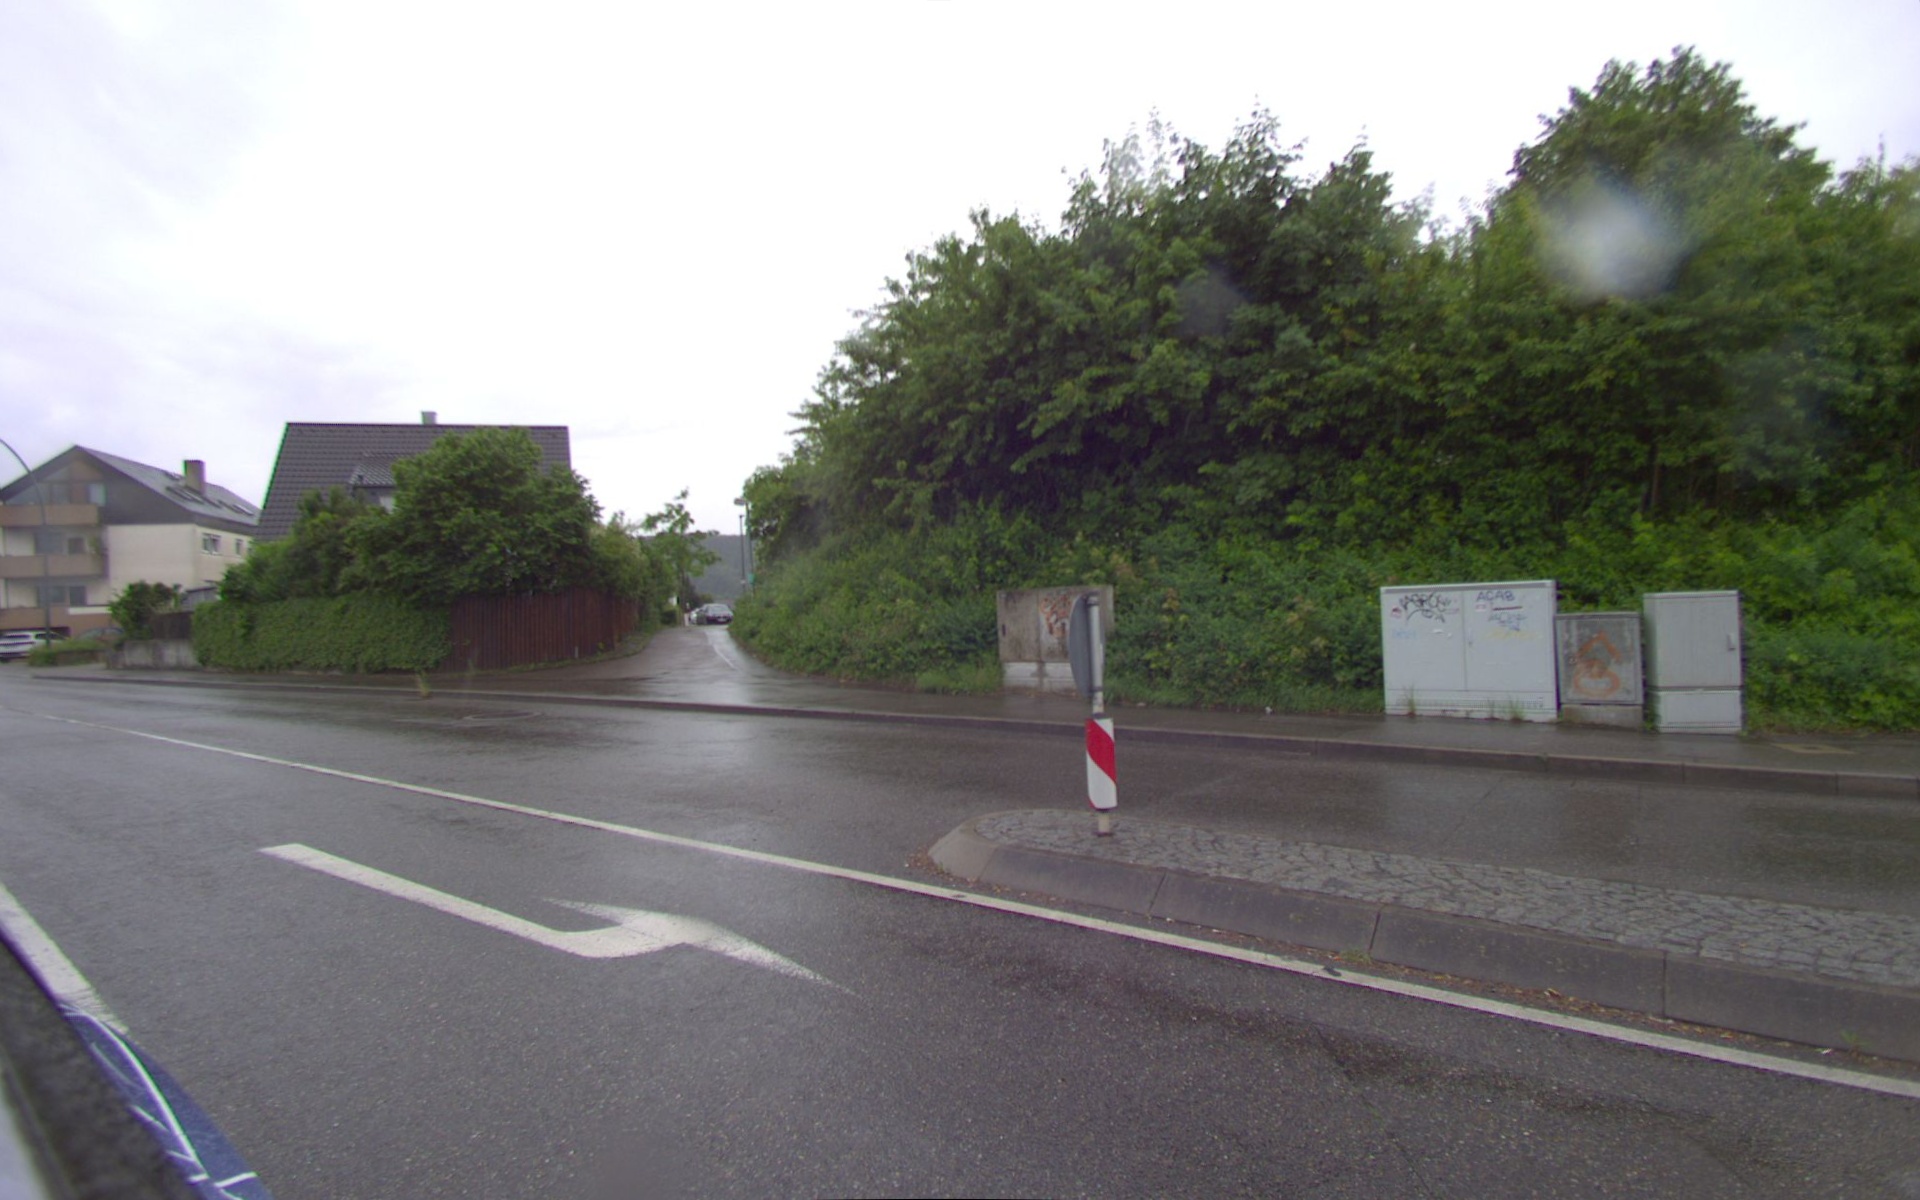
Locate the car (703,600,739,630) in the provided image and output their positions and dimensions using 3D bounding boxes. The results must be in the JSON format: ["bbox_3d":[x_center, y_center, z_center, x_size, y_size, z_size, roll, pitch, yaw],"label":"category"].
[{"bbox_3d":[-15.588,0.950,66.176,1.968,1.873,4.008,-2,0,-9],"label":"car"}]

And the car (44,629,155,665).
[{"bbox_3d":[-41.200,2.218,48.527,3.609,1.530,1.759,-2,0,-15],"label":"car"}]

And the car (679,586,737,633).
[{"bbox_3d":[-9.174,0.344,37.055,1.683,1.600,3.668,-1,0,-8],"label":"car"}]

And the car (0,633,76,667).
[{"bbox_3d":[-46.810,2.505,51.047,1.837,1.530,4.012,-2,0,-18],"label":"car"}]
